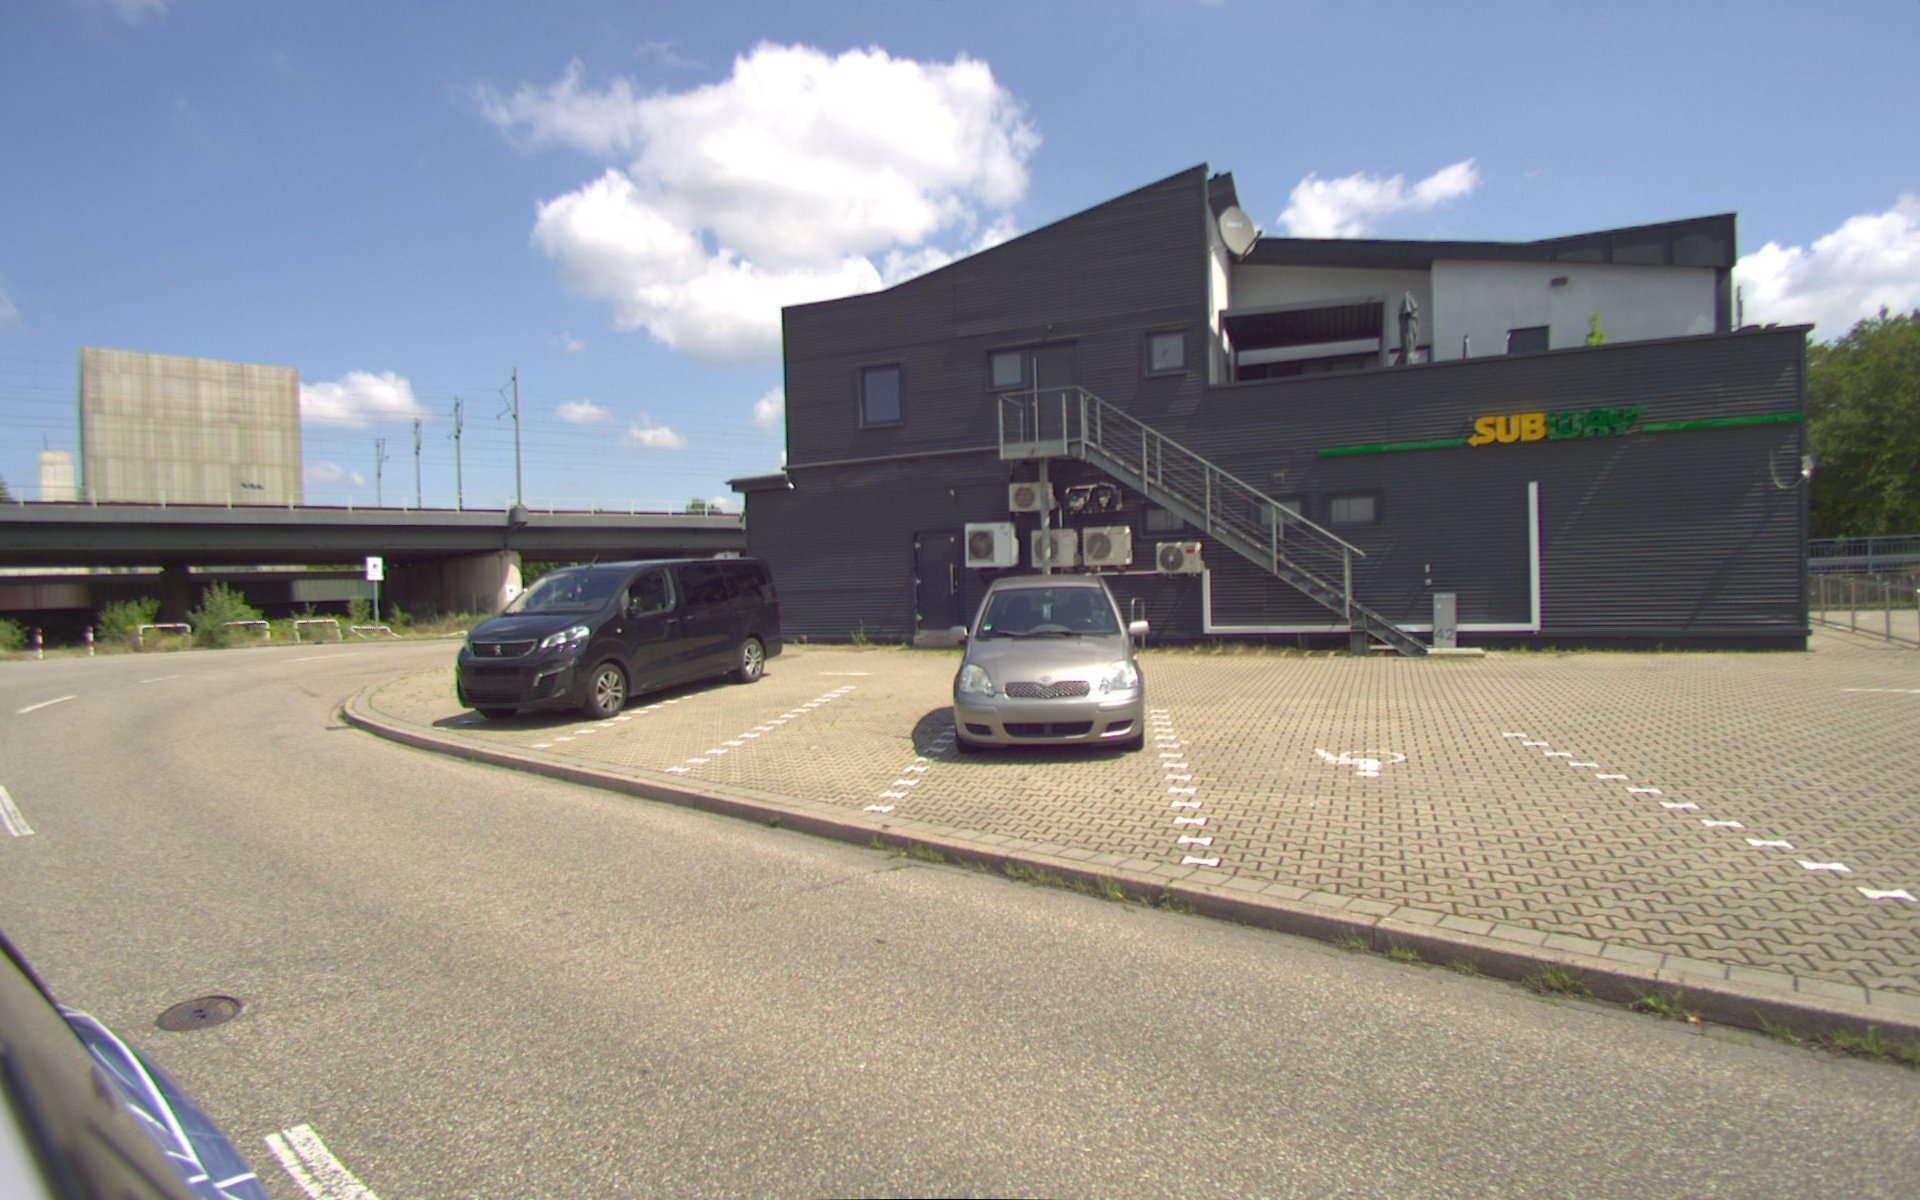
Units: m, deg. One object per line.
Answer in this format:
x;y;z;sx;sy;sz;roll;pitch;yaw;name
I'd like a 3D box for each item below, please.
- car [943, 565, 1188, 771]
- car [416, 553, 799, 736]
0.948;0.472;9.463;1.775;1.487;3.690;-3;1;5;car
-4.408;0.393;13.841;1.985;1.929;5.309;-1;3;20;car
